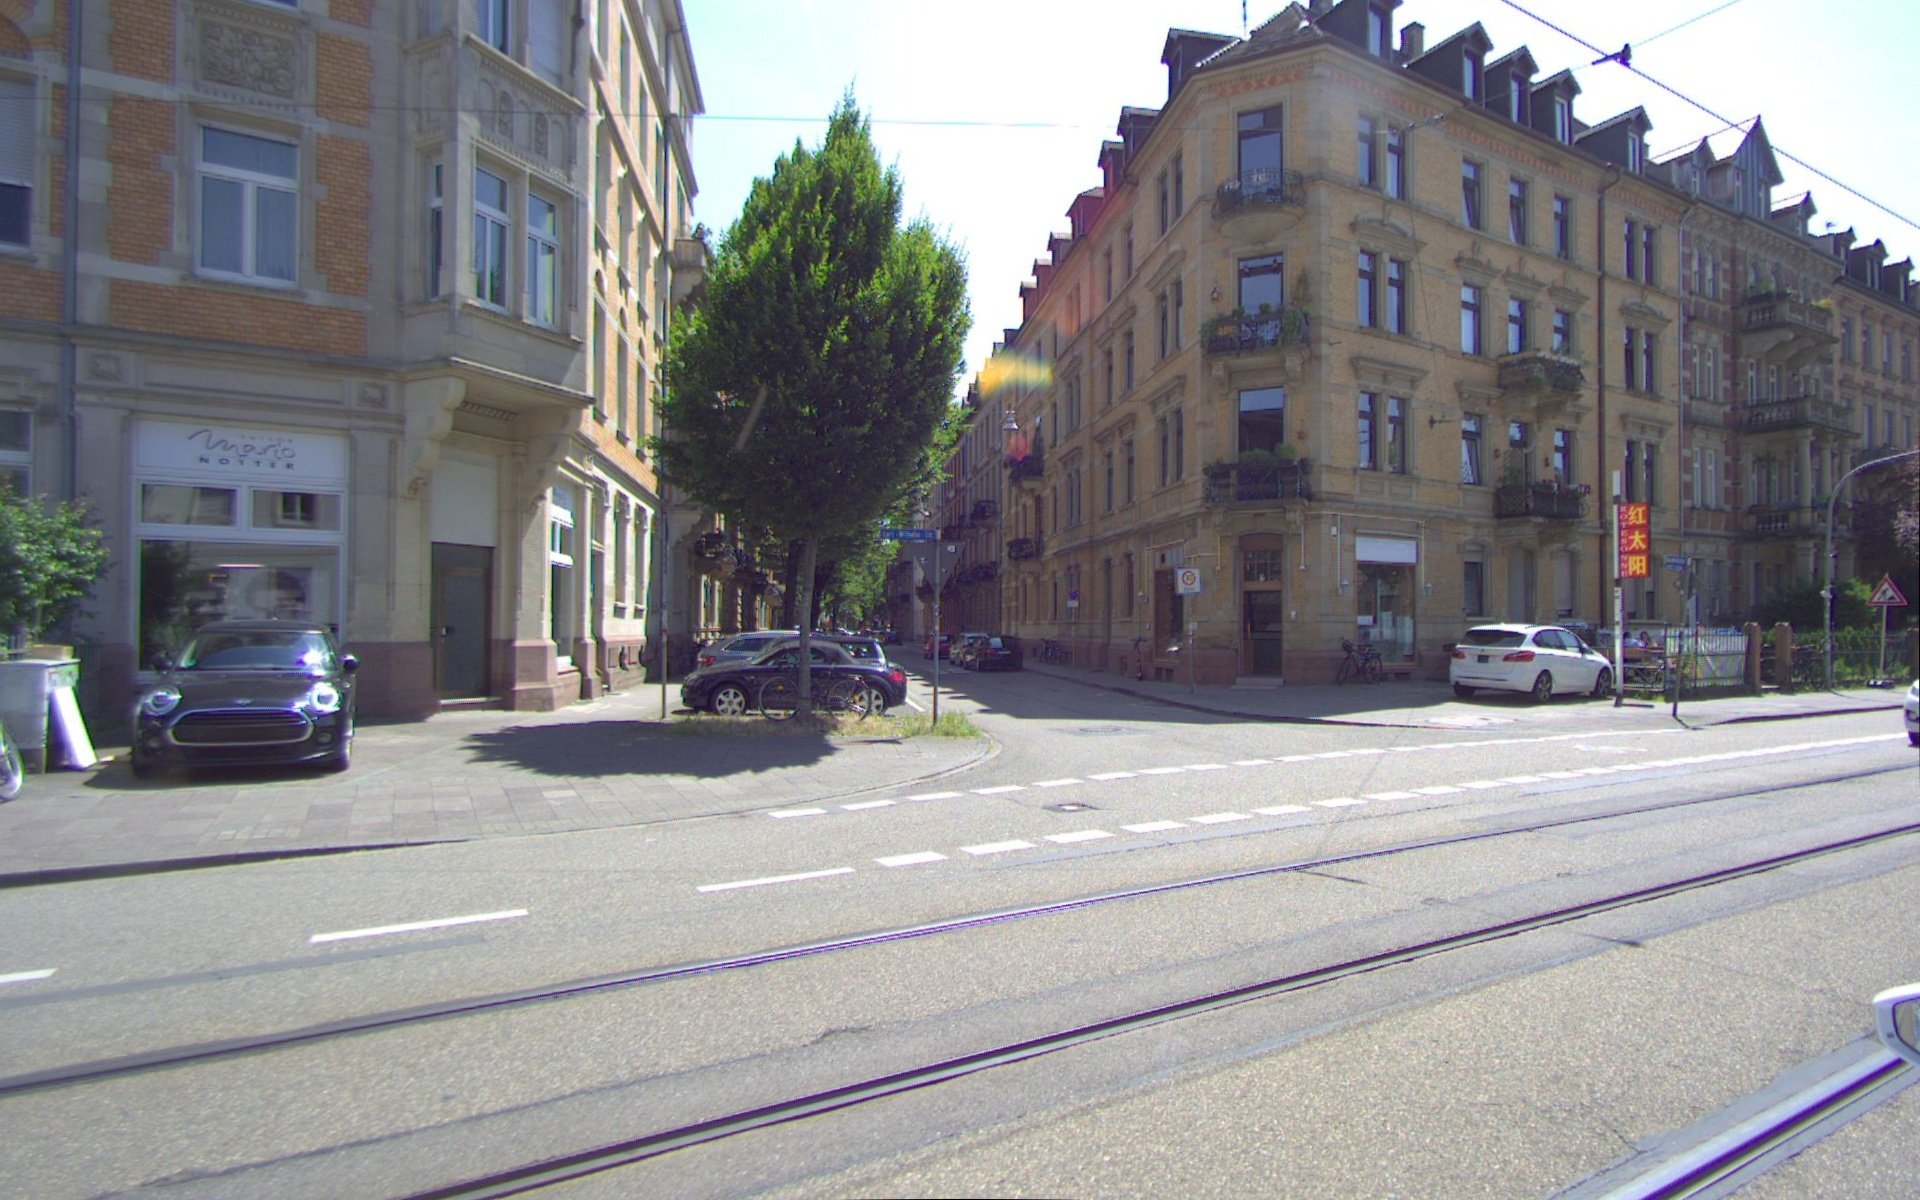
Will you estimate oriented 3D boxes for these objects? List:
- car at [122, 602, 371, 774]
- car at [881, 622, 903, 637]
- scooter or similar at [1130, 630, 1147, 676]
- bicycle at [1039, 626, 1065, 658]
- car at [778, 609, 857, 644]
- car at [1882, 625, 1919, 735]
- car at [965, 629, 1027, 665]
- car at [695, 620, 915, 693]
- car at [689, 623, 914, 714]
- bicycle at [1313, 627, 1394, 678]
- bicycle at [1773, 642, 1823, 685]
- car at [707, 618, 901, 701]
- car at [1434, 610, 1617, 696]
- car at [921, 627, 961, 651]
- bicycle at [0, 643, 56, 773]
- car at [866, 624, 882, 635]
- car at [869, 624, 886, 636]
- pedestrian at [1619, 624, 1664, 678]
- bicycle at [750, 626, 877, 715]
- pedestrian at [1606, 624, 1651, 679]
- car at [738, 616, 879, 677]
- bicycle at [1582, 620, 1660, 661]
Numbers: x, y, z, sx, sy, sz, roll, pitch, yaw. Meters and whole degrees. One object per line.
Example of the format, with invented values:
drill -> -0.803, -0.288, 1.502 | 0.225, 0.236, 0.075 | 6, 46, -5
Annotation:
car -> -7.332, 0.797, 10.682 | 1.693, 1.447, 3.743 | 3, -1, -29
car -> -6.586, 2.792, 96.851 | 1.734, 1.382, 3.994 | 1, -1, -9
scooter or similar -> 5.253, 1.542, 29.529 | 0.486, 1.290, 1.283 | 0, -1, 11
bicycle -> 3.705, 1.691, 40.617 | 0.628, 1.244, 2.064 | 1, -1, -7
car -> -7.438, 1.402, 52.556 | 3.928, 1.578, 1.997 | 3, -1, -9
car -> 14.580, 1.105, 13.787 | 3.953, 1.443, 1.748 | 2, -2, -30
car -> 1.364, 1.840, 39.717 | 1.734, 1.282, 3.994 | 1, -1, -9
car -> -3.520, 1.286, 23.052 | 4.739, 1.383, 1.743 | 3, -1, -10
car -> -2.789, 1.201, 17.882 | 3.705, 1.356, 1.628 | 3, -1, -10
bicycle -> 9.756, 1.297, 24.878 | 2.117, 1.203, 0.636 | 1, 0, -27
bicycle -> 20.682, 1.545, 24.776 | 1.788, 1.016, 0.451 | 2, 0, -34
car -> -3.182, 1.194, 20.655 | 3.705, 1.458, 1.628 | 3, -1, -10
car -> 12.199, 1.098, 21.618 | 4.061, 1.621, 1.853 | 2, 1, -35
car -> -1.134, 2.239, 57.682 | 1.734, 1.282, 3.994 | 1, -1, -9
bicycle -> -8.417, 0.924, 8.574 | 0.544, 1.050, 1.700 | 1, 0, -25
car -> -10.717, 3.685, 125.443 | 1.734, 1.382, 3.994 | 1, -1, -9
car -> -10.008, 3.659, 121.133 | 1.734, 1.382, 3.994 | 1, -1, -9
pedestrian -> 17.053, 1.265, 25.127 | 0.704, 1.315, 0.705 | 1, -2, -34
bicycle -> -2.214, 1.064, 15.313 | 1.814, 1.244, 0.502 | 3, -1, -2
pedestrian -> 16.437, 1.249, 24.698 | 0.704, 1.315, 0.705 | 1, -2, -34
car -> -4.209, 1.283, 27.940 | 3.705, 1.461, 1.628 | 3, -1, -10
bicycle -> 17.367, 1.044, 26.428 | 0.467, 1.016, 1.699 | 1, 0, -26
